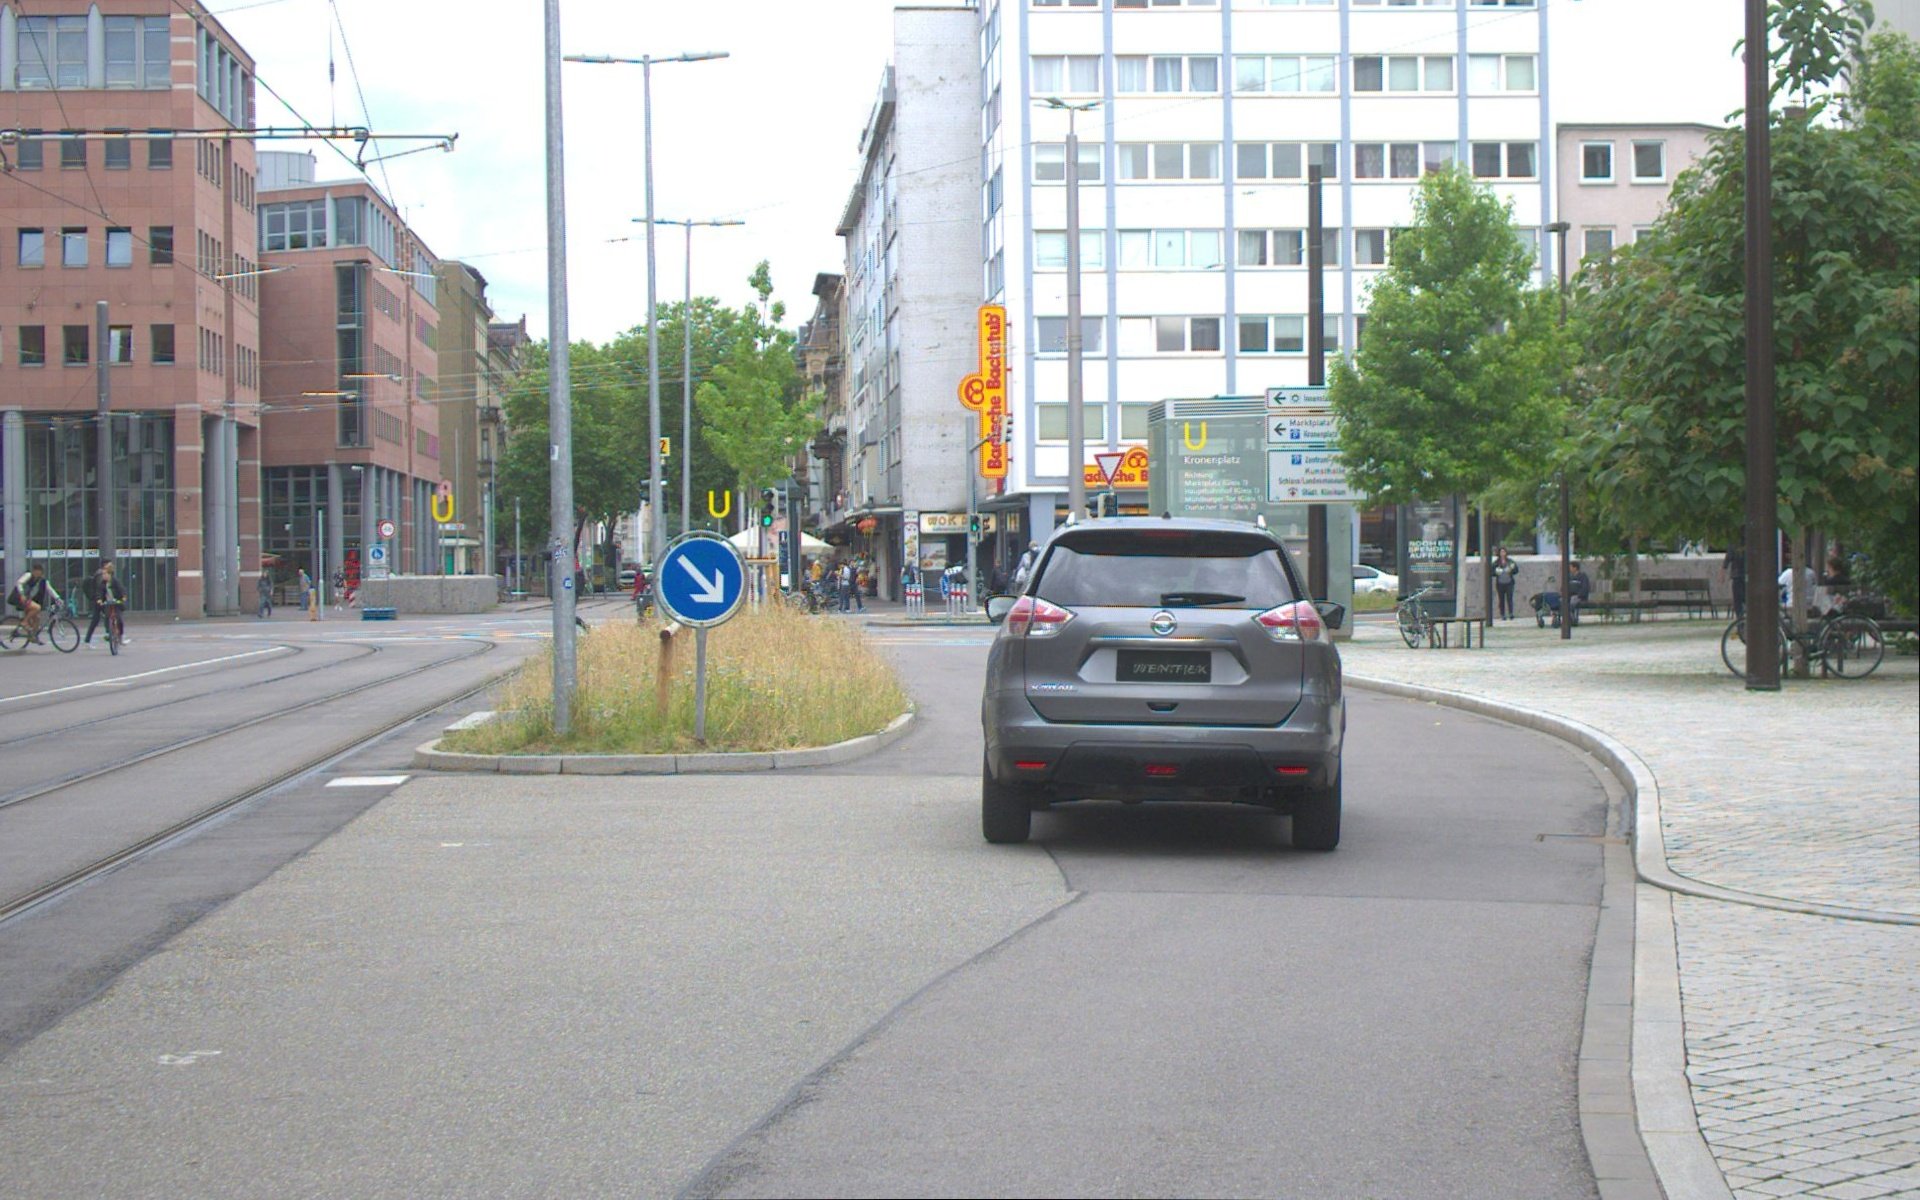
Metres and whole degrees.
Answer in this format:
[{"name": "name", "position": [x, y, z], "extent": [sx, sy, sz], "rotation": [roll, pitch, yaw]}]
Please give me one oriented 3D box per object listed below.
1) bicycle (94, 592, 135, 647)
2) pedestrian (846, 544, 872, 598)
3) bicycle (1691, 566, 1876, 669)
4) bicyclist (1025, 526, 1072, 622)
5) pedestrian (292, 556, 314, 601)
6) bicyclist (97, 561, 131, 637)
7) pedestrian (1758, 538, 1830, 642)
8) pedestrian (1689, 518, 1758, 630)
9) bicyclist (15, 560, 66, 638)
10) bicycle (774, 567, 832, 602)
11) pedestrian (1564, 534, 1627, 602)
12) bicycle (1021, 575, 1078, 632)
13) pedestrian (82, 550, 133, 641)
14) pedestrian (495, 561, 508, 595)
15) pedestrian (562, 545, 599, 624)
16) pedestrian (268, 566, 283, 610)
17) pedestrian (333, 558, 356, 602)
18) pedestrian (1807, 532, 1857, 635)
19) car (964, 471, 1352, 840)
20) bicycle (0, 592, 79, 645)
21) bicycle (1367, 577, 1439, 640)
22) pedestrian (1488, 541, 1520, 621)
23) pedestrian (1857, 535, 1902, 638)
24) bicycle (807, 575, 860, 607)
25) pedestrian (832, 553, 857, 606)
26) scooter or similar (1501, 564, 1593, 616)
[{"name": "bicycle", "position": [-15.889, 0.364, 64.568], "extent": [0.479, 1.017, 1.912], "rotation": [-1, 0, -21]}, {"name": "pedestrian", "position": [-3.438, -0.969, 116.914], "extent": [0.712, 1.826, 1.017], "rotation": [0, 0, -11]}, {"name": "bicycle", "position": [9.041, 0.186, 37.807], "extent": [1.914, 1.119, 0.645], "rotation": [0, 0, 7]}, {"name": "bicyclist", "position": [1.677, -0.487, 65.055], "extent": [0.834, 1.806, 0.877], "rotation": [0, 0, -1]}, {"name": "pedestrian", "position": [-26.920, -0.867, 140.882], "extent": [0.732, 1.835, 0.702], "rotation": [0, 0, -28]}, {"name": "bicyclist", "position": [-15.871, -0.020, 64.483], "extent": [0.479, 1.402, 0.812], "rotation": [-1, 0, -21]}, {"name": "pedestrian", "position": [11.006, -0.133, 45.384], "extent": [0.628, 1.361, 0.688], "rotation": [0, 0, -22]}, {"name": "pedestrian", "position": [12.662, -0.431, 57.037], "extent": [0.713, 1.796, 1.078], "rotation": [-4, 0, -5]}, {"name": "bicyclist", "position": [-18.175, -0.022, 67.985], "extent": [0.810, 1.535, 0.492], "rotation": [-1, 0, 20]}, {"name": "bicycle", "position": [-5.249, -0.529, 115.154], "extent": [1.866, 1.168, 0.531], "rotation": [0, 0, -18]}, {"name": "pedestrian", "position": [12.415, -0.625, 67.187], "extent": [1.044, 1.292, 0.733], "rotation": [-2, 0, 2]}, {"name": "bicycle", "position": [1.676, 0.055, 65.074], "extent": [0.901, 1.041, 3.278], "rotation": [0, 0, -1]}, {"name": "pedestrian", "position": [-17.789, -0.083, 71.735], "extent": [0.896, 1.883, 0.799], "rotation": [1, -1, -6]}, {"name": "pedestrian", "position": [-23.317, -1.109, 174.938], "extent": [0.600, 1.708, 0.656], "rotation": [0, 0, -11]}, {"name": "pedestrian", "position": [-8.183, -0.323, 74.104], "extent": [0.743, 1.678, 0.799], "rotation": [1, -1, -8]}, {"name": "pedestrian", "position": [-23.865, -0.411, 119.853], "extent": [0.449, 1.527, 0.522], "rotation": [0, 0, -21]}, {"name": "pedestrian", "position": [-25.370, -0.825, 141.676], "extent": [0.701, 1.835, 0.734], "rotation": [0, 0, 16]}, {"name": "pedestrian", "position": [11.655, -0.222, 45.960], "extent": [0.628, 1.361, 0.918], "rotation": [0, 0, 13]}, {"name": "car", "position": [1.020, 0.279, 18.838], "extent": [1.863, 1.769, 4.566], "rotation": [0, 0, 2]}, {"name": "bicycle", "position": [-18.407, 0.370, 68.084], "extent": [1.908, 1.017, 0.477], "rotation": [-1, 0, 21]}, {"name": "bicycle", "position": [7.233, 0.133, 56.109], "extent": [0.659, 0.975, 1.752], "rotation": [-1, 0, 25]}, {"name": "pedestrian", "position": [11.937, -0.422, 75.432], "extent": [0.671, 1.755, 0.641], "rotation": [0, 0, 12]}, {"name": "pedestrian", "position": [12.359, -0.182, 46.225], "extent": [0.543, 1.361, 1.279], "rotation": [0, 0, 14]}, {"name": "bicycle", "position": [-4.224, -0.289, 114.969], "extent": [1.695, 1.062, 0.437], "rotation": [0, 0, -14]}, {"name": "pedestrian", "position": [-3.849, -0.685, 114.486], "extent": [0.732, 1.740, 0.663], "rotation": [0, 0, -12]}, {"name": "scooter or similar", "position": [11.498, -0.191, 67.382], "extent": [1.590, 0.945, 0.723], "rotation": [-2, 0, 35]}]
